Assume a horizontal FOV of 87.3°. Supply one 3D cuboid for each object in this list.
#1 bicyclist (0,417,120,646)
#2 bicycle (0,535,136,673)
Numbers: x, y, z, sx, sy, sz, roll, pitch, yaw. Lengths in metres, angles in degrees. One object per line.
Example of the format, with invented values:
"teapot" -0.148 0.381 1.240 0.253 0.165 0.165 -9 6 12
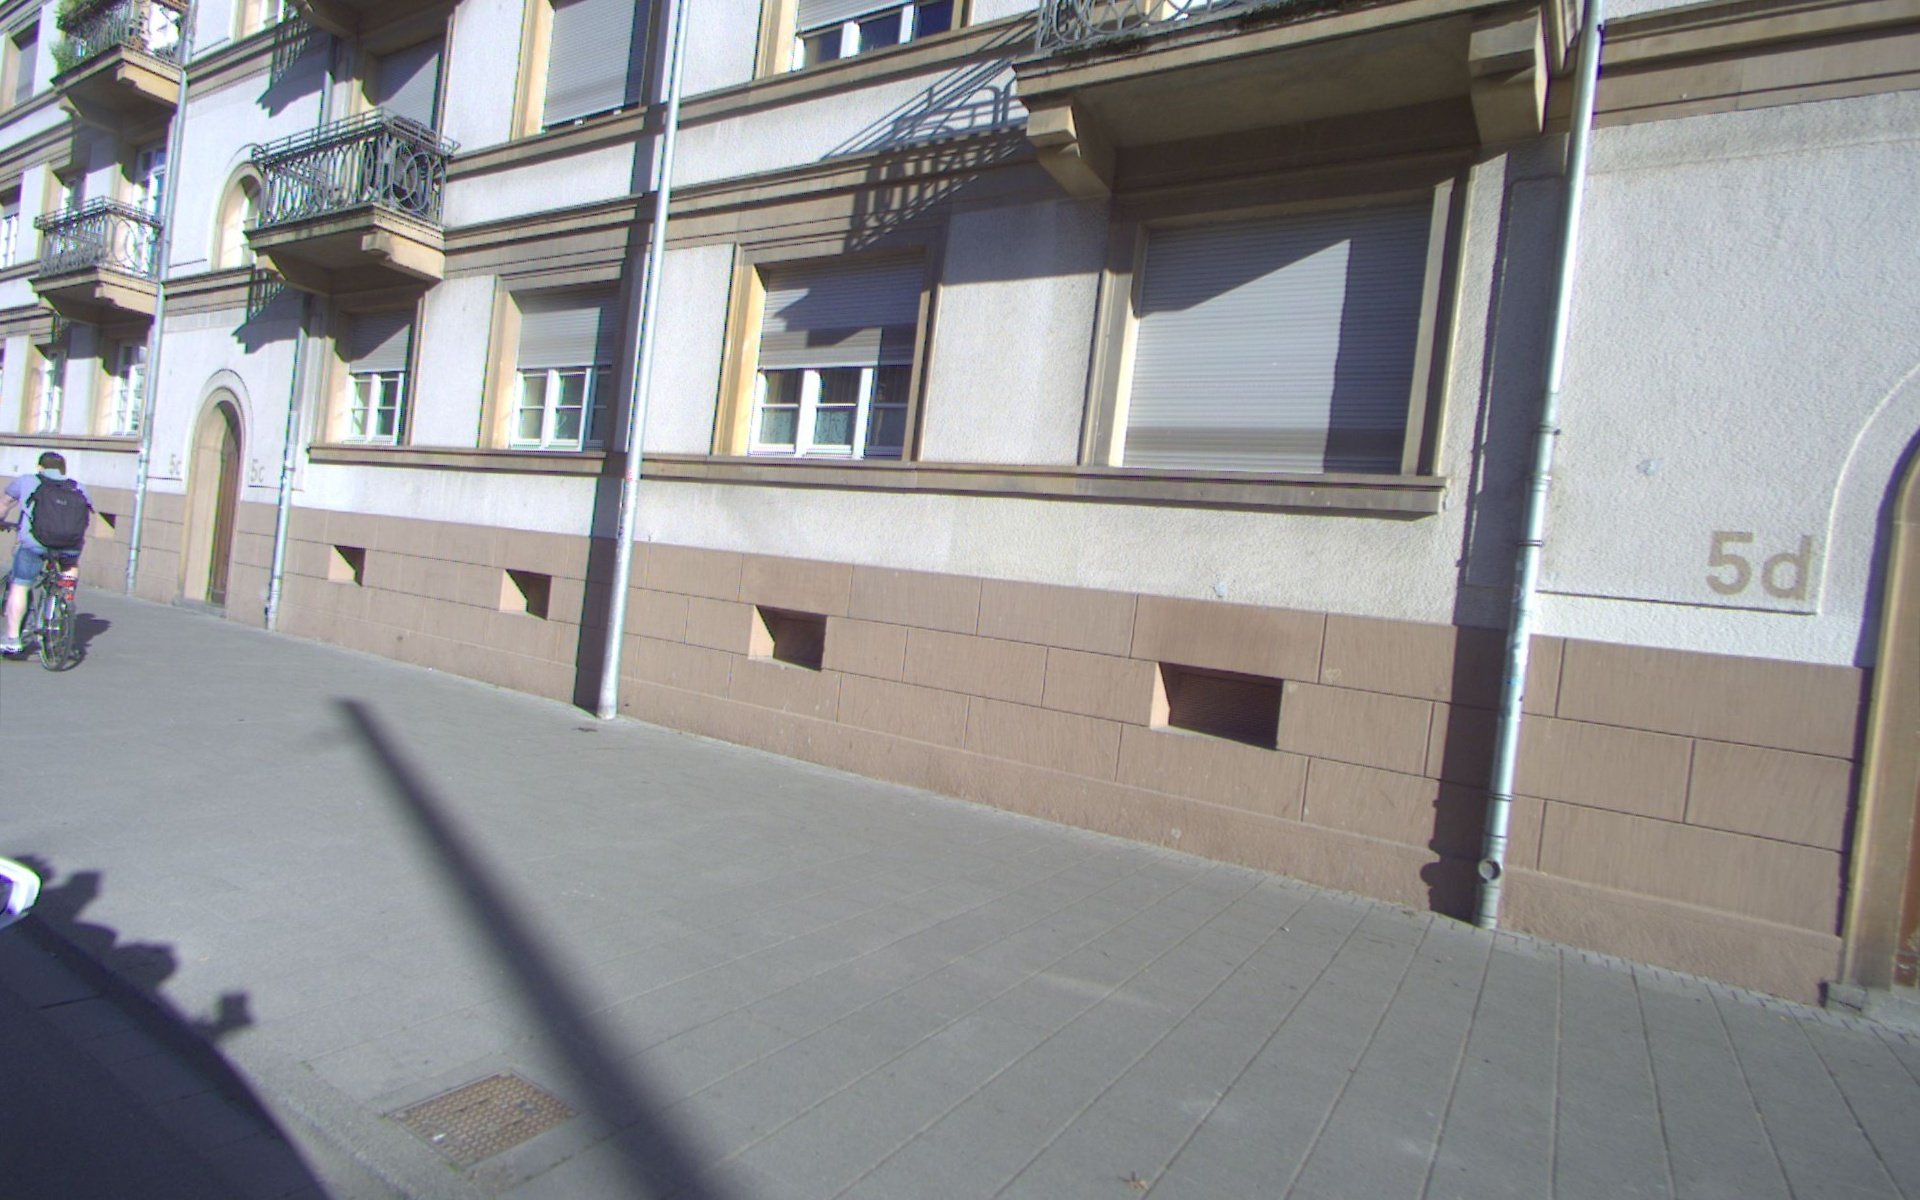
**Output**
"bicyclist" -7.787 -0.568 8.460 0.922 1.785 0.733 7 1 32
"bicycle" -7.926 -0.013 8.508 2.162 0.965 0.768 7 0 32
